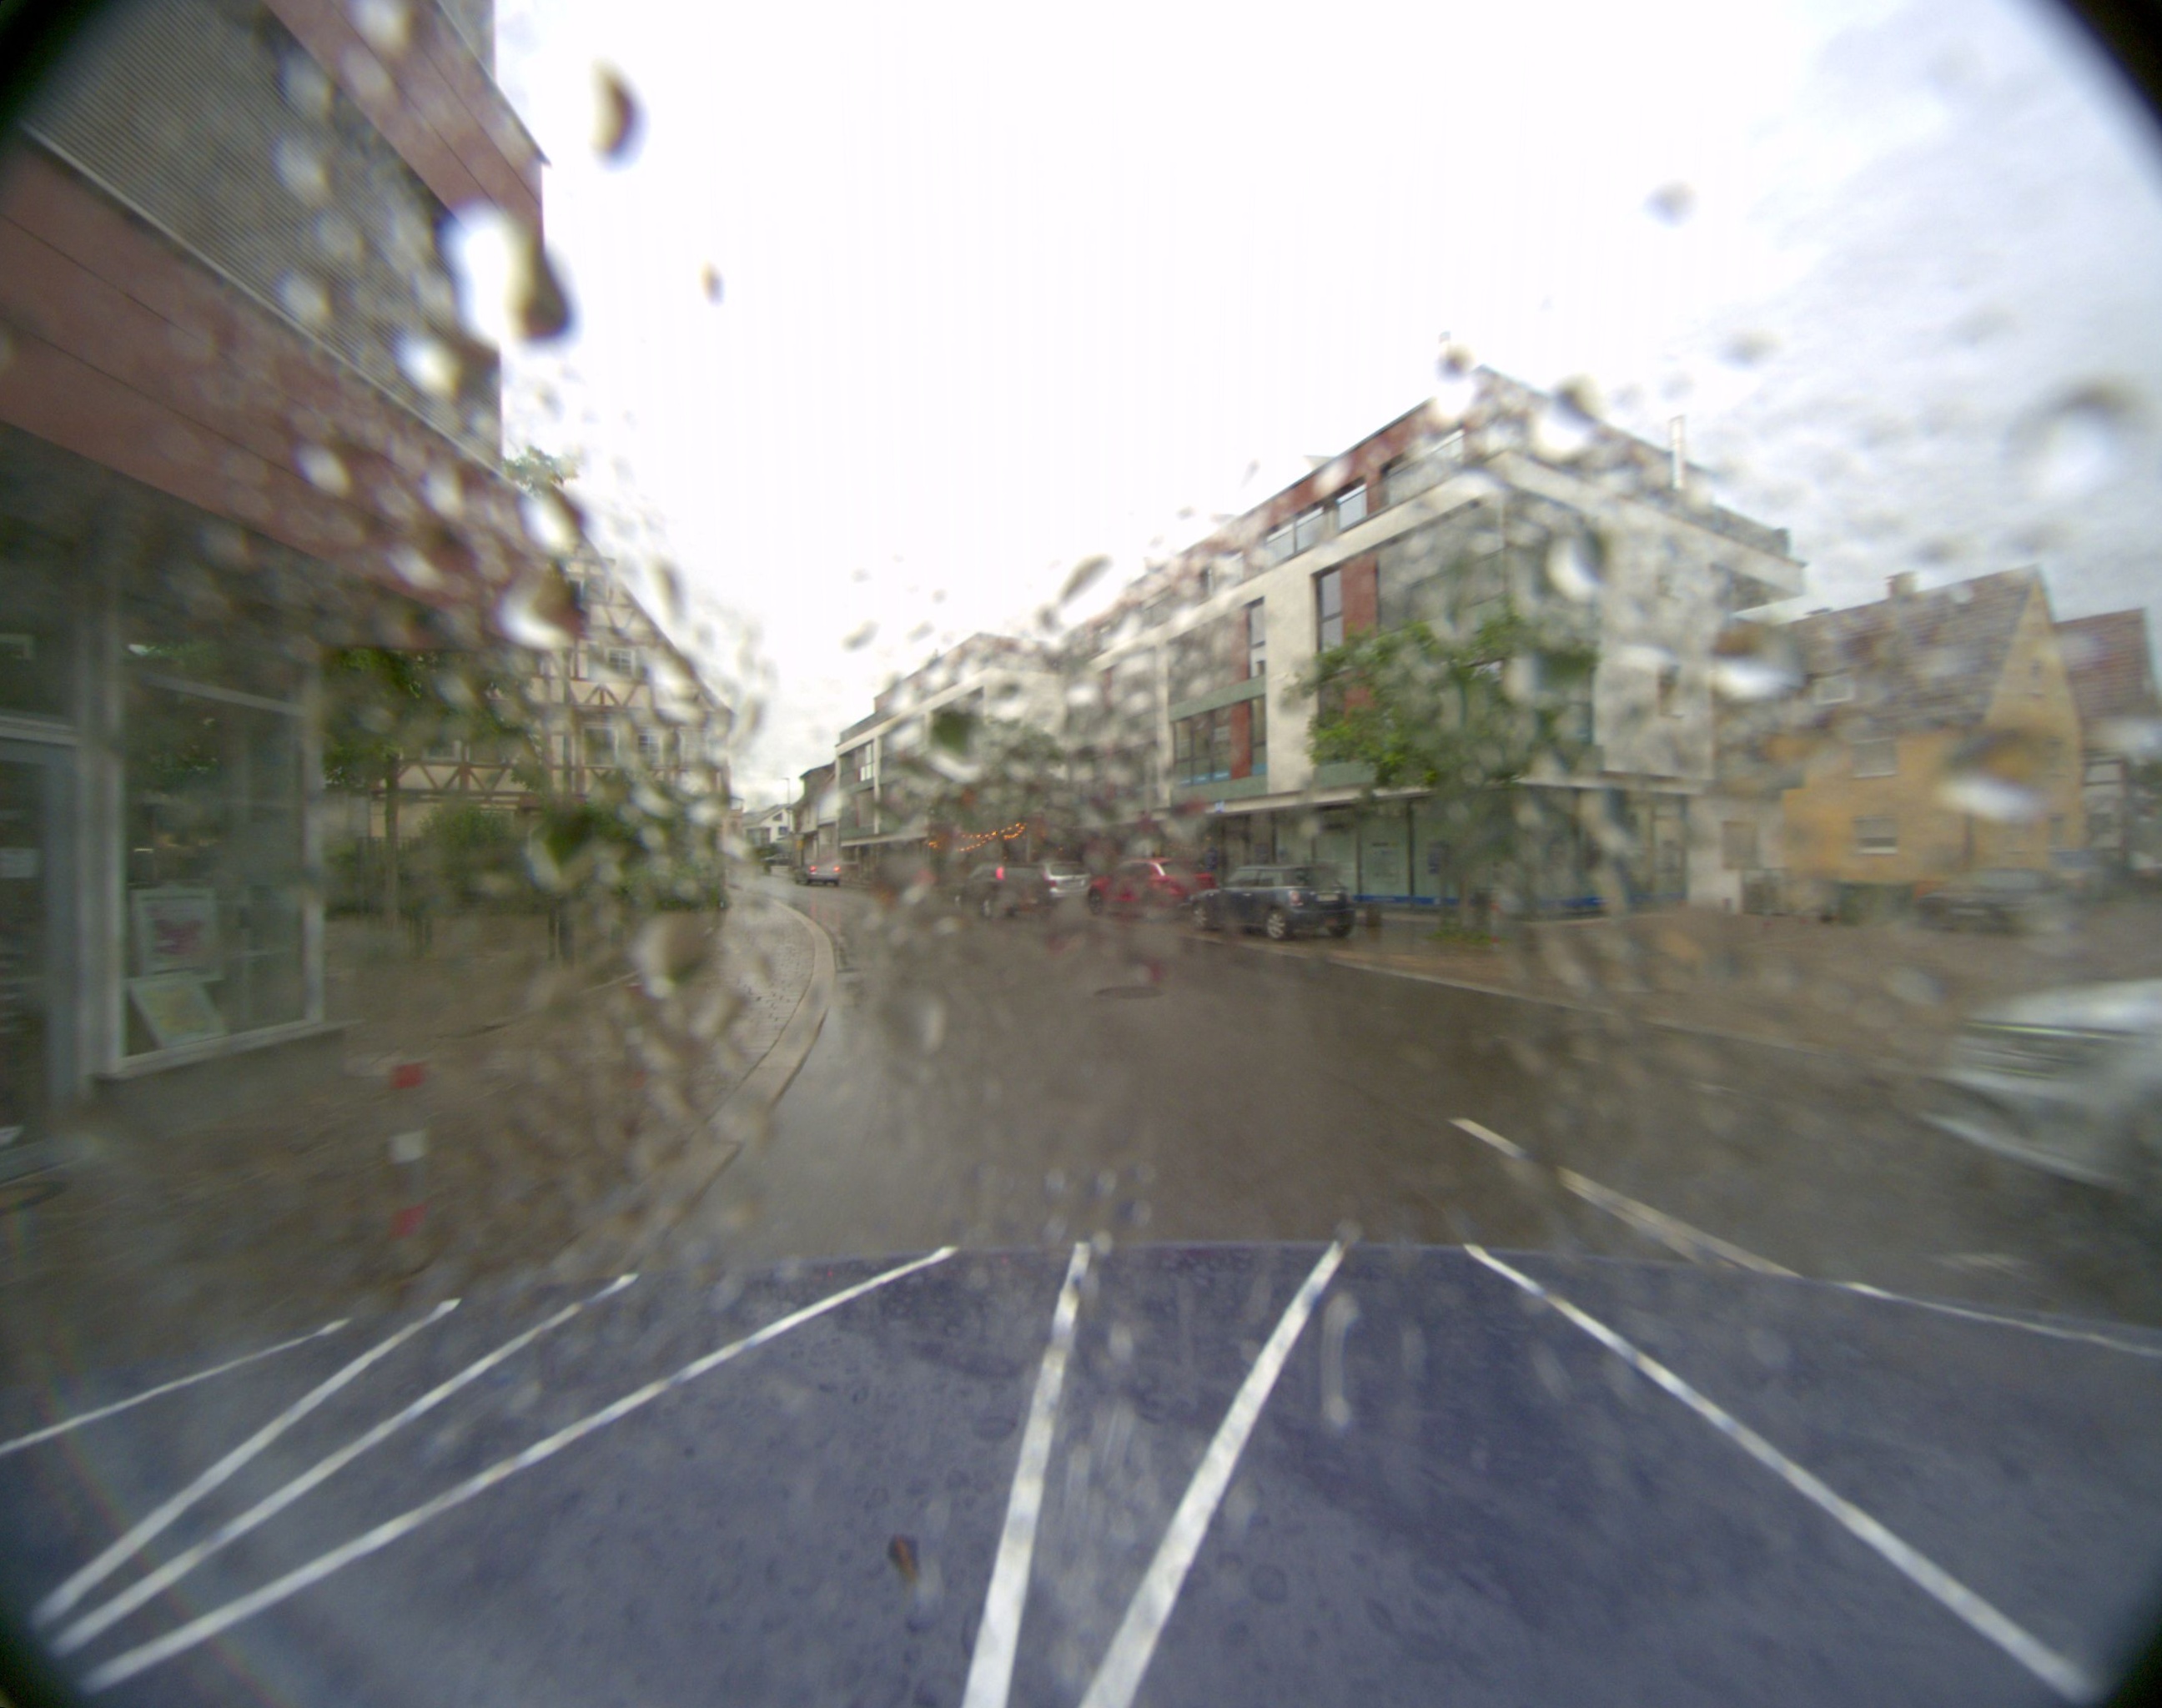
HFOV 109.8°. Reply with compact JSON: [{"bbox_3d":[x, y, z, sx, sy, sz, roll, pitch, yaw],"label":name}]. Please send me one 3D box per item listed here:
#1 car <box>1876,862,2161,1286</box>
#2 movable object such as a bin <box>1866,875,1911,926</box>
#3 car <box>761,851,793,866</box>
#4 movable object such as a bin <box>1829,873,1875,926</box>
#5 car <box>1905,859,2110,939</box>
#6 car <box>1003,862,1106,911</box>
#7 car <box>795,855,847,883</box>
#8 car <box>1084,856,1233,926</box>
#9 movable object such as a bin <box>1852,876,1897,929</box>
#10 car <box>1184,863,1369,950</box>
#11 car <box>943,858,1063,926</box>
[{"bbox_3d":[5.505,0.780,1.684,1.927,1.482,4.852,0,0,-29],"label":"car"},{"bbox_3d":[20.241,1.148,19.045,0.524,1.226,0.630,-2,1,-25],"label":"movable object such as a bin"},{"bbox_3d":[-42.445,0.599,106.123,4.003,2.002,1.997,-2,1,-18],"label":"car"},{"bbox_3d":[18.520,1.075,18.256,0.524,1.226,0.630,-2,1,-25],"label":"movable object such as a bin"},{"bbox_3d":[21.748,0.958,17.830,4.550,1.499,1.996,-2,1,-25],"label":"car"},{"bbox_3d":[-0.946,0.984,24.639,1.729,1.386,3.852,-2,1,-29],"label":"car"},{"bbox_3d":[-14.261,0.805,41.592,1.781,1.404,3.724,-2,1,-33],"label":"car"},{"bbox_3d":[1.881,0.864,19.682,1.806,1.546,3.912,-2,1,-31],"label":"car"},{"bbox_3d":[19.428,1.174,18.603,0.524,1.226,0.630,-2,1,-25],"label":"movable object such as a bin"},{"bbox_3d":[3.767,0.940,15.227,1.682,1.427,3.578,-2,1,-24],"label":"car"},{"bbox_3d":[-2.251,0.933,20.625,1.788,1.457,4.503,-1,2,-26],"label":"car"}]
